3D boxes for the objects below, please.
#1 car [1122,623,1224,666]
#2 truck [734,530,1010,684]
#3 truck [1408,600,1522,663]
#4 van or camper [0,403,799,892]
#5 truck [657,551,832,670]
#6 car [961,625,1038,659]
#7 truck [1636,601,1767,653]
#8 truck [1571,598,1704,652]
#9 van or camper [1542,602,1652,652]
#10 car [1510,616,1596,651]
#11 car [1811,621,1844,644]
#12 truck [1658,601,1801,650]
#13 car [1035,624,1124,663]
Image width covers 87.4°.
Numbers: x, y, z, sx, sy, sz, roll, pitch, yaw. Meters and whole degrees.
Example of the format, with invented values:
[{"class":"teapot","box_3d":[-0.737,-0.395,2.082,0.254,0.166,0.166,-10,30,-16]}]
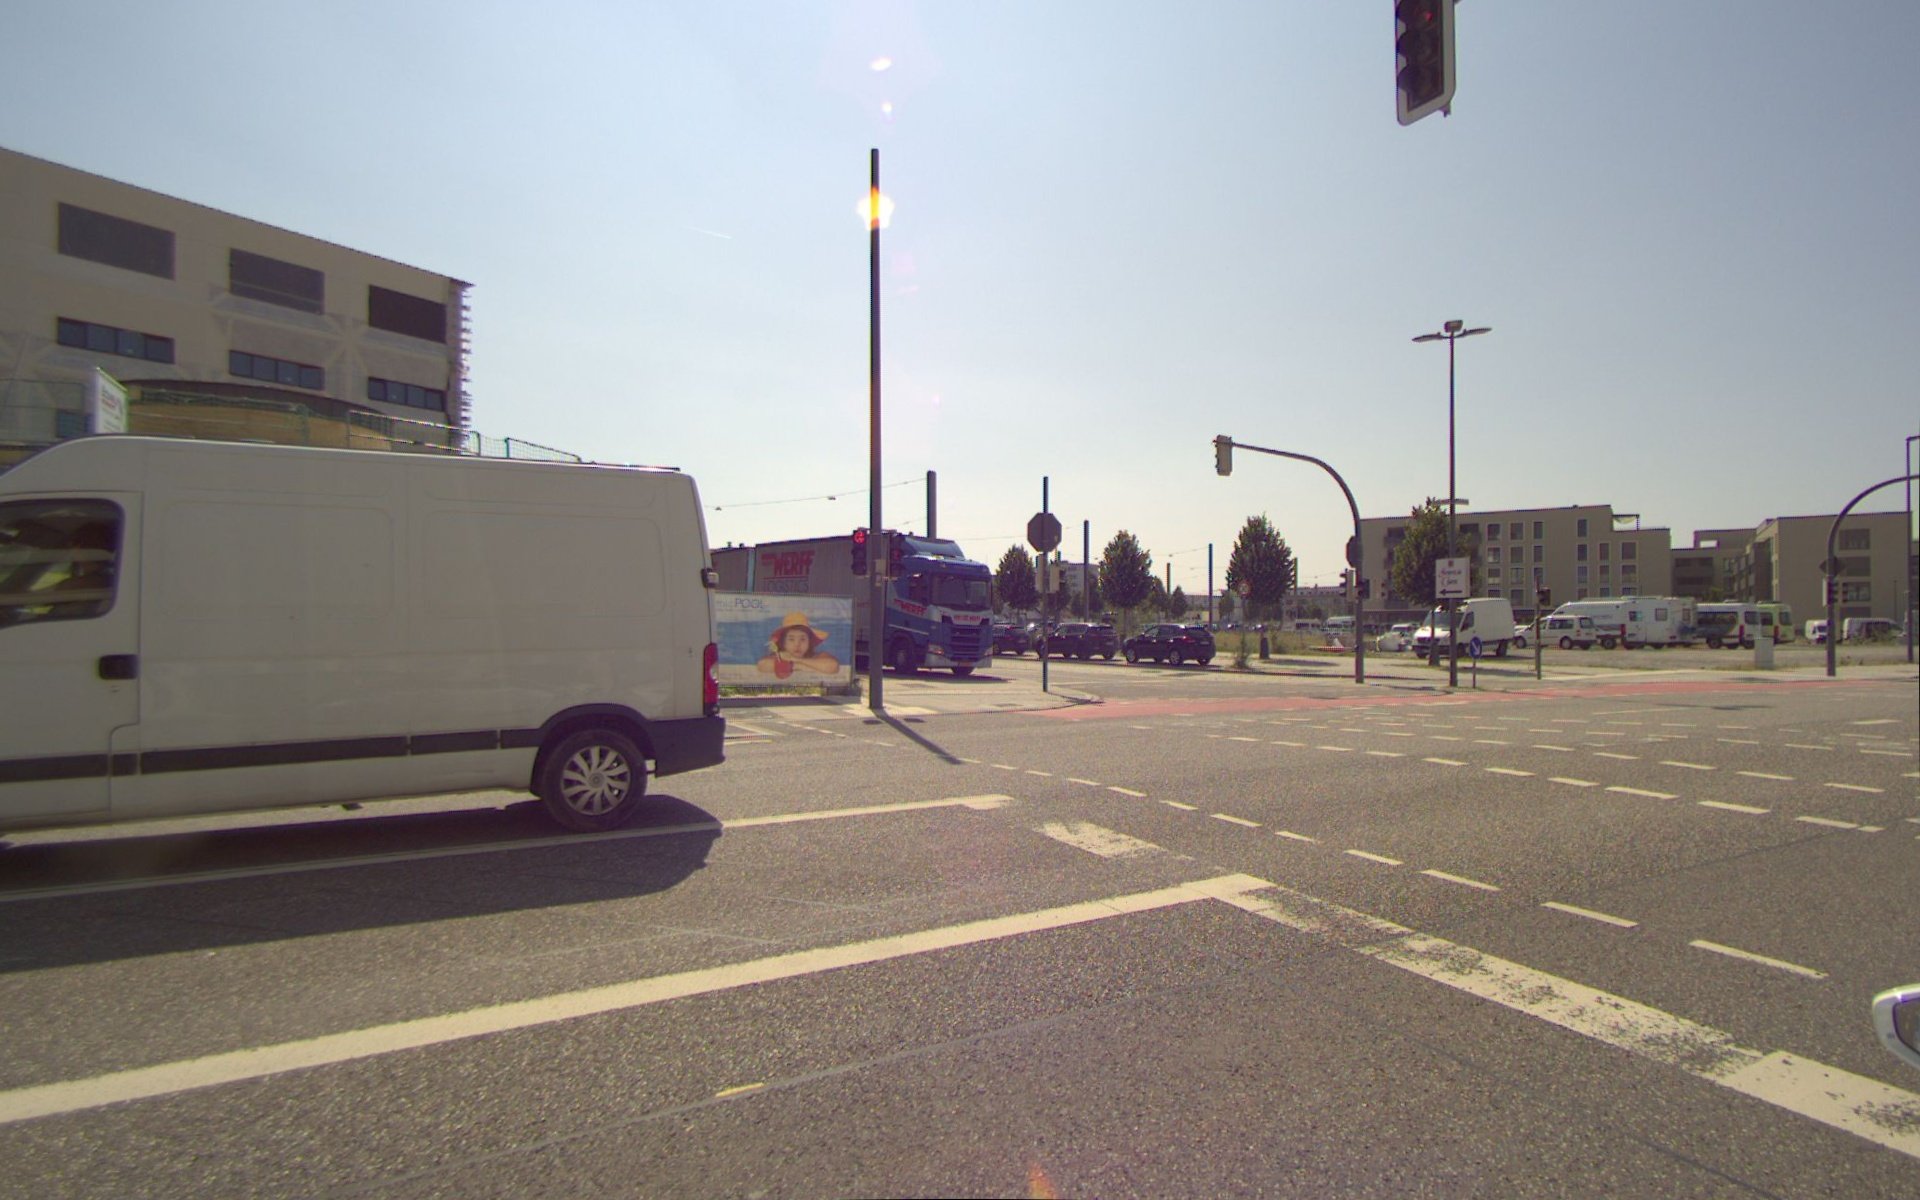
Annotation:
[{"class":"car","box_3d":[8.856,1.801,41.939,1.863,1.662,3.958,1,-1,-37]},{"class":"truck","box_3d":[-3.259,0.174,32.228,3.274,4.121,10.856,2,0,-39]},{"class":"truck","box_3d":[23.159,1.439,45.974,5.885,2.690,2.153,1,-2,-35]},{"class":"van or camper","box_3d":[-4.095,0.299,6.685,5.614,2.446,2.143,1,-3,-30]},{"class":"truck","box_3d":[-9.332,0.389,41.981,3.310,4.332,10.846,2,0,-34]},{"class":"car","box_3d":[1.963,2.086,50.767,1.863,1.551,3.861,-2,1,-37]},{"class":"truck","box_3d":[44.330,1.562,60.249,2.532,2.862,5.825,2,0,-21]},{"class":"truck","box_3d":[39.619,1.378,58.992,2.532,2.940,6.134,2,0,-21]},{"class":"van or camper","box_3d":[35.957,1.468,56.868,2.227,2.697,4.890,0,0,-22]},{"class":"car","box_3d":[32.612,1.809,55.326,1.635,1.782,3.853,0,0,-25]},{"class":"car","box_3d":[88.525,3.268,102.565,1.966,2.270,3.990,0,0,32]},{"class":"truck","box_3d":[47.167,1.521,61.824,2.565,2.863,6.622,0,0,-22]},{"class":"car","box_3d":[5.472,1.963,46.286,1.863,1.662,3.958,1,-1,-37]}]
